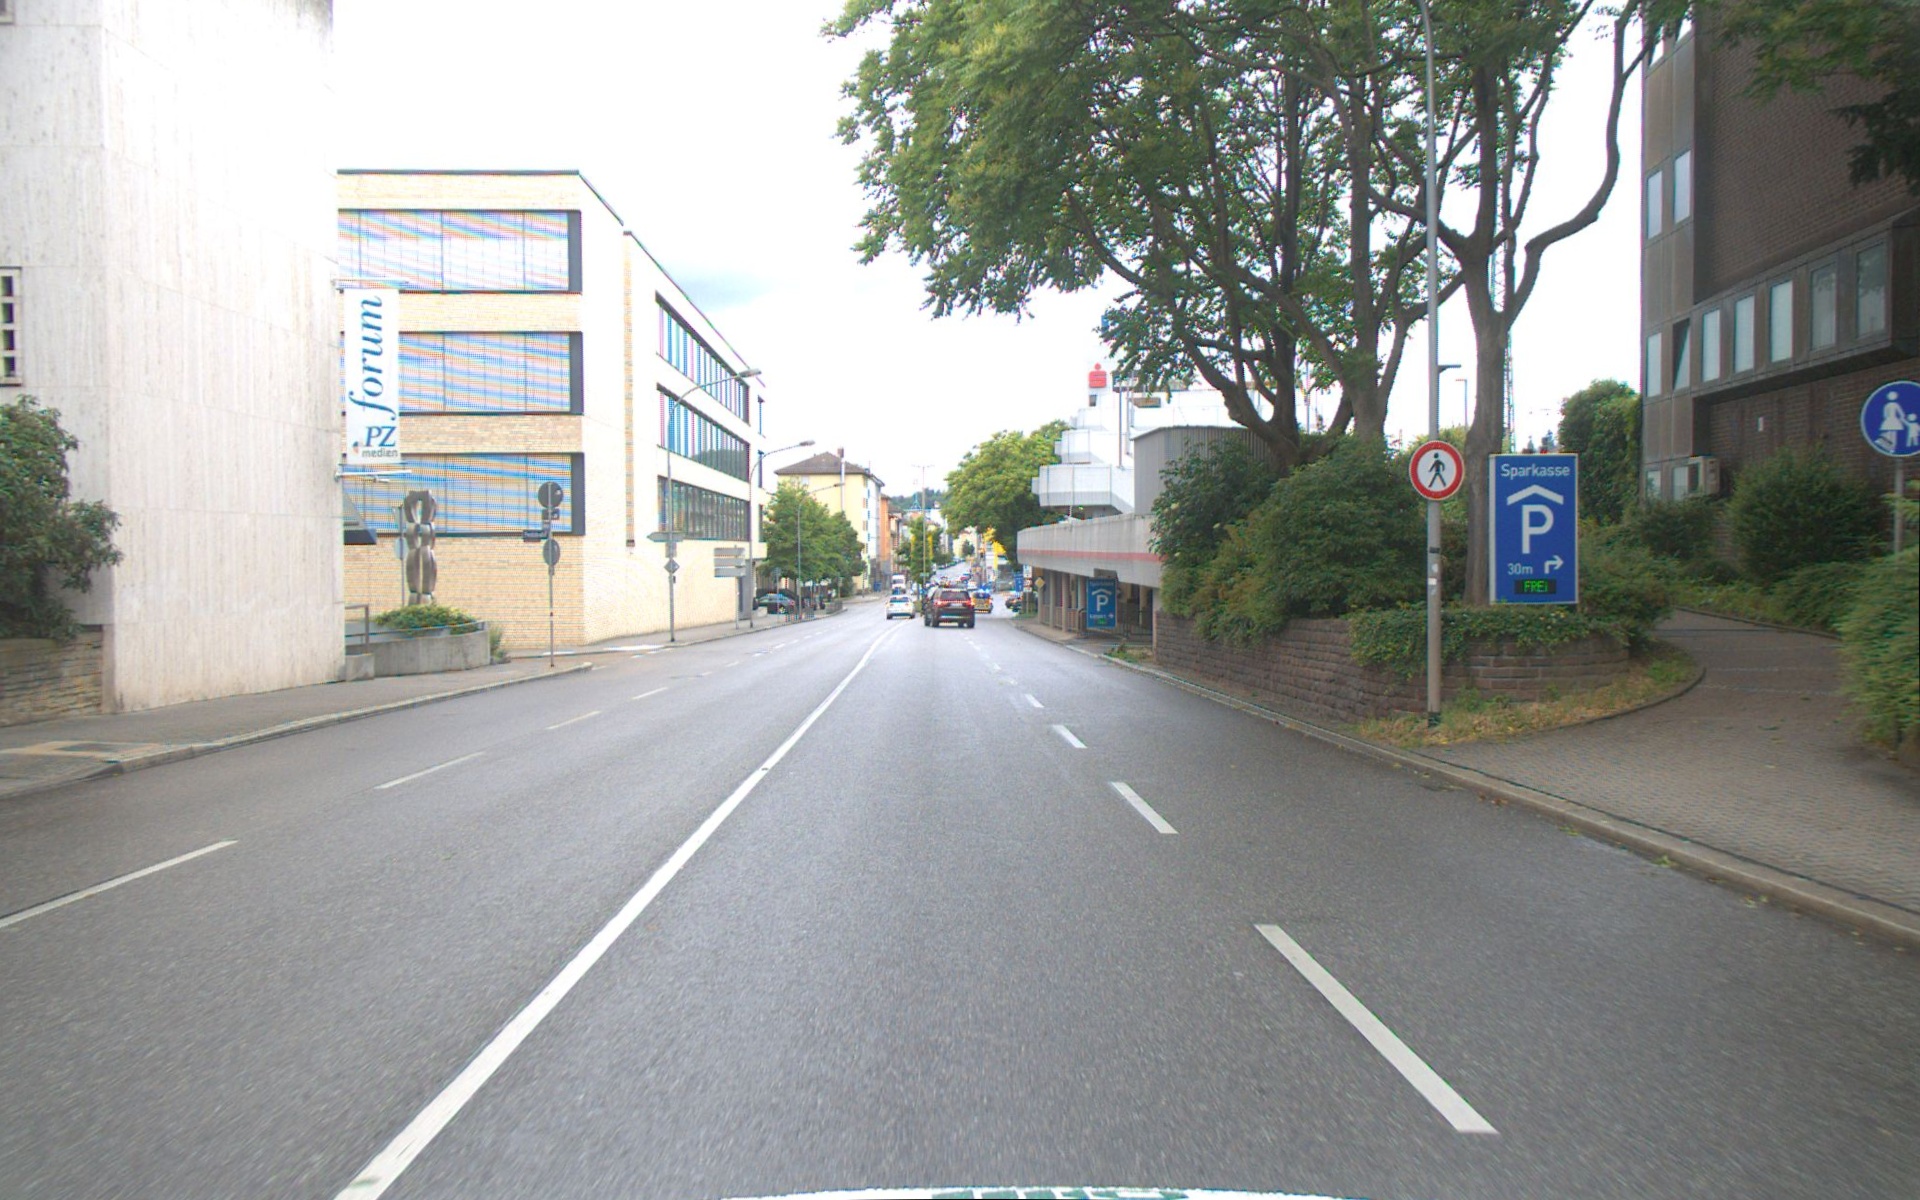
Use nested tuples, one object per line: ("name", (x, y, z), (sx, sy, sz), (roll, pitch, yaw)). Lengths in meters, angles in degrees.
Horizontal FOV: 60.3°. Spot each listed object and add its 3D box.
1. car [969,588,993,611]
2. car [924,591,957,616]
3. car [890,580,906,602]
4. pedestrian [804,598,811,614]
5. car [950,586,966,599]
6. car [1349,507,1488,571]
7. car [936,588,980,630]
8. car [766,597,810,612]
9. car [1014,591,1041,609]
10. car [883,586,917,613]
("car", (1.857, -0.062, 147.176), (2.128, 2.039, 4.000), (0, 0, 0))
("car", (-1.406, 0.232, 115.706), (1.955, 1.709, 3.995), (0, 0, -6))
("car", (-9.069, -1.357, 241.255), (2.140, 3.152, 4.926), (0, 0, -5))
("pedestrian", (-12.377, 0.474, 134.009), (0.444, 1.301, 0.454), (0, 0, 10))
("car", (-0.233, -1.072, 228.440), (1.954, 1.709, 3.998), (0, 2, -4))
("car", (12.840, -1.691, 46.474), (3.545, 1.735, 1.642), (0, 0, 7))
("car", (-0.079, 0.423, 79.143), (2.049, 1.944, 4.099), (0, 0, 0))
("car", (-14.148, 0.366, 135.731), (3.585, 1.256, 1.439), (0, 0, -7))
("car", (6.453, 0.025, 158.263), (1.951, 1.709, 4.003), (0, 0, 12))
("car", (-3.943, -0.032, 107.768), (1.955, 1.709, 3.995), (0, 0, -6))
